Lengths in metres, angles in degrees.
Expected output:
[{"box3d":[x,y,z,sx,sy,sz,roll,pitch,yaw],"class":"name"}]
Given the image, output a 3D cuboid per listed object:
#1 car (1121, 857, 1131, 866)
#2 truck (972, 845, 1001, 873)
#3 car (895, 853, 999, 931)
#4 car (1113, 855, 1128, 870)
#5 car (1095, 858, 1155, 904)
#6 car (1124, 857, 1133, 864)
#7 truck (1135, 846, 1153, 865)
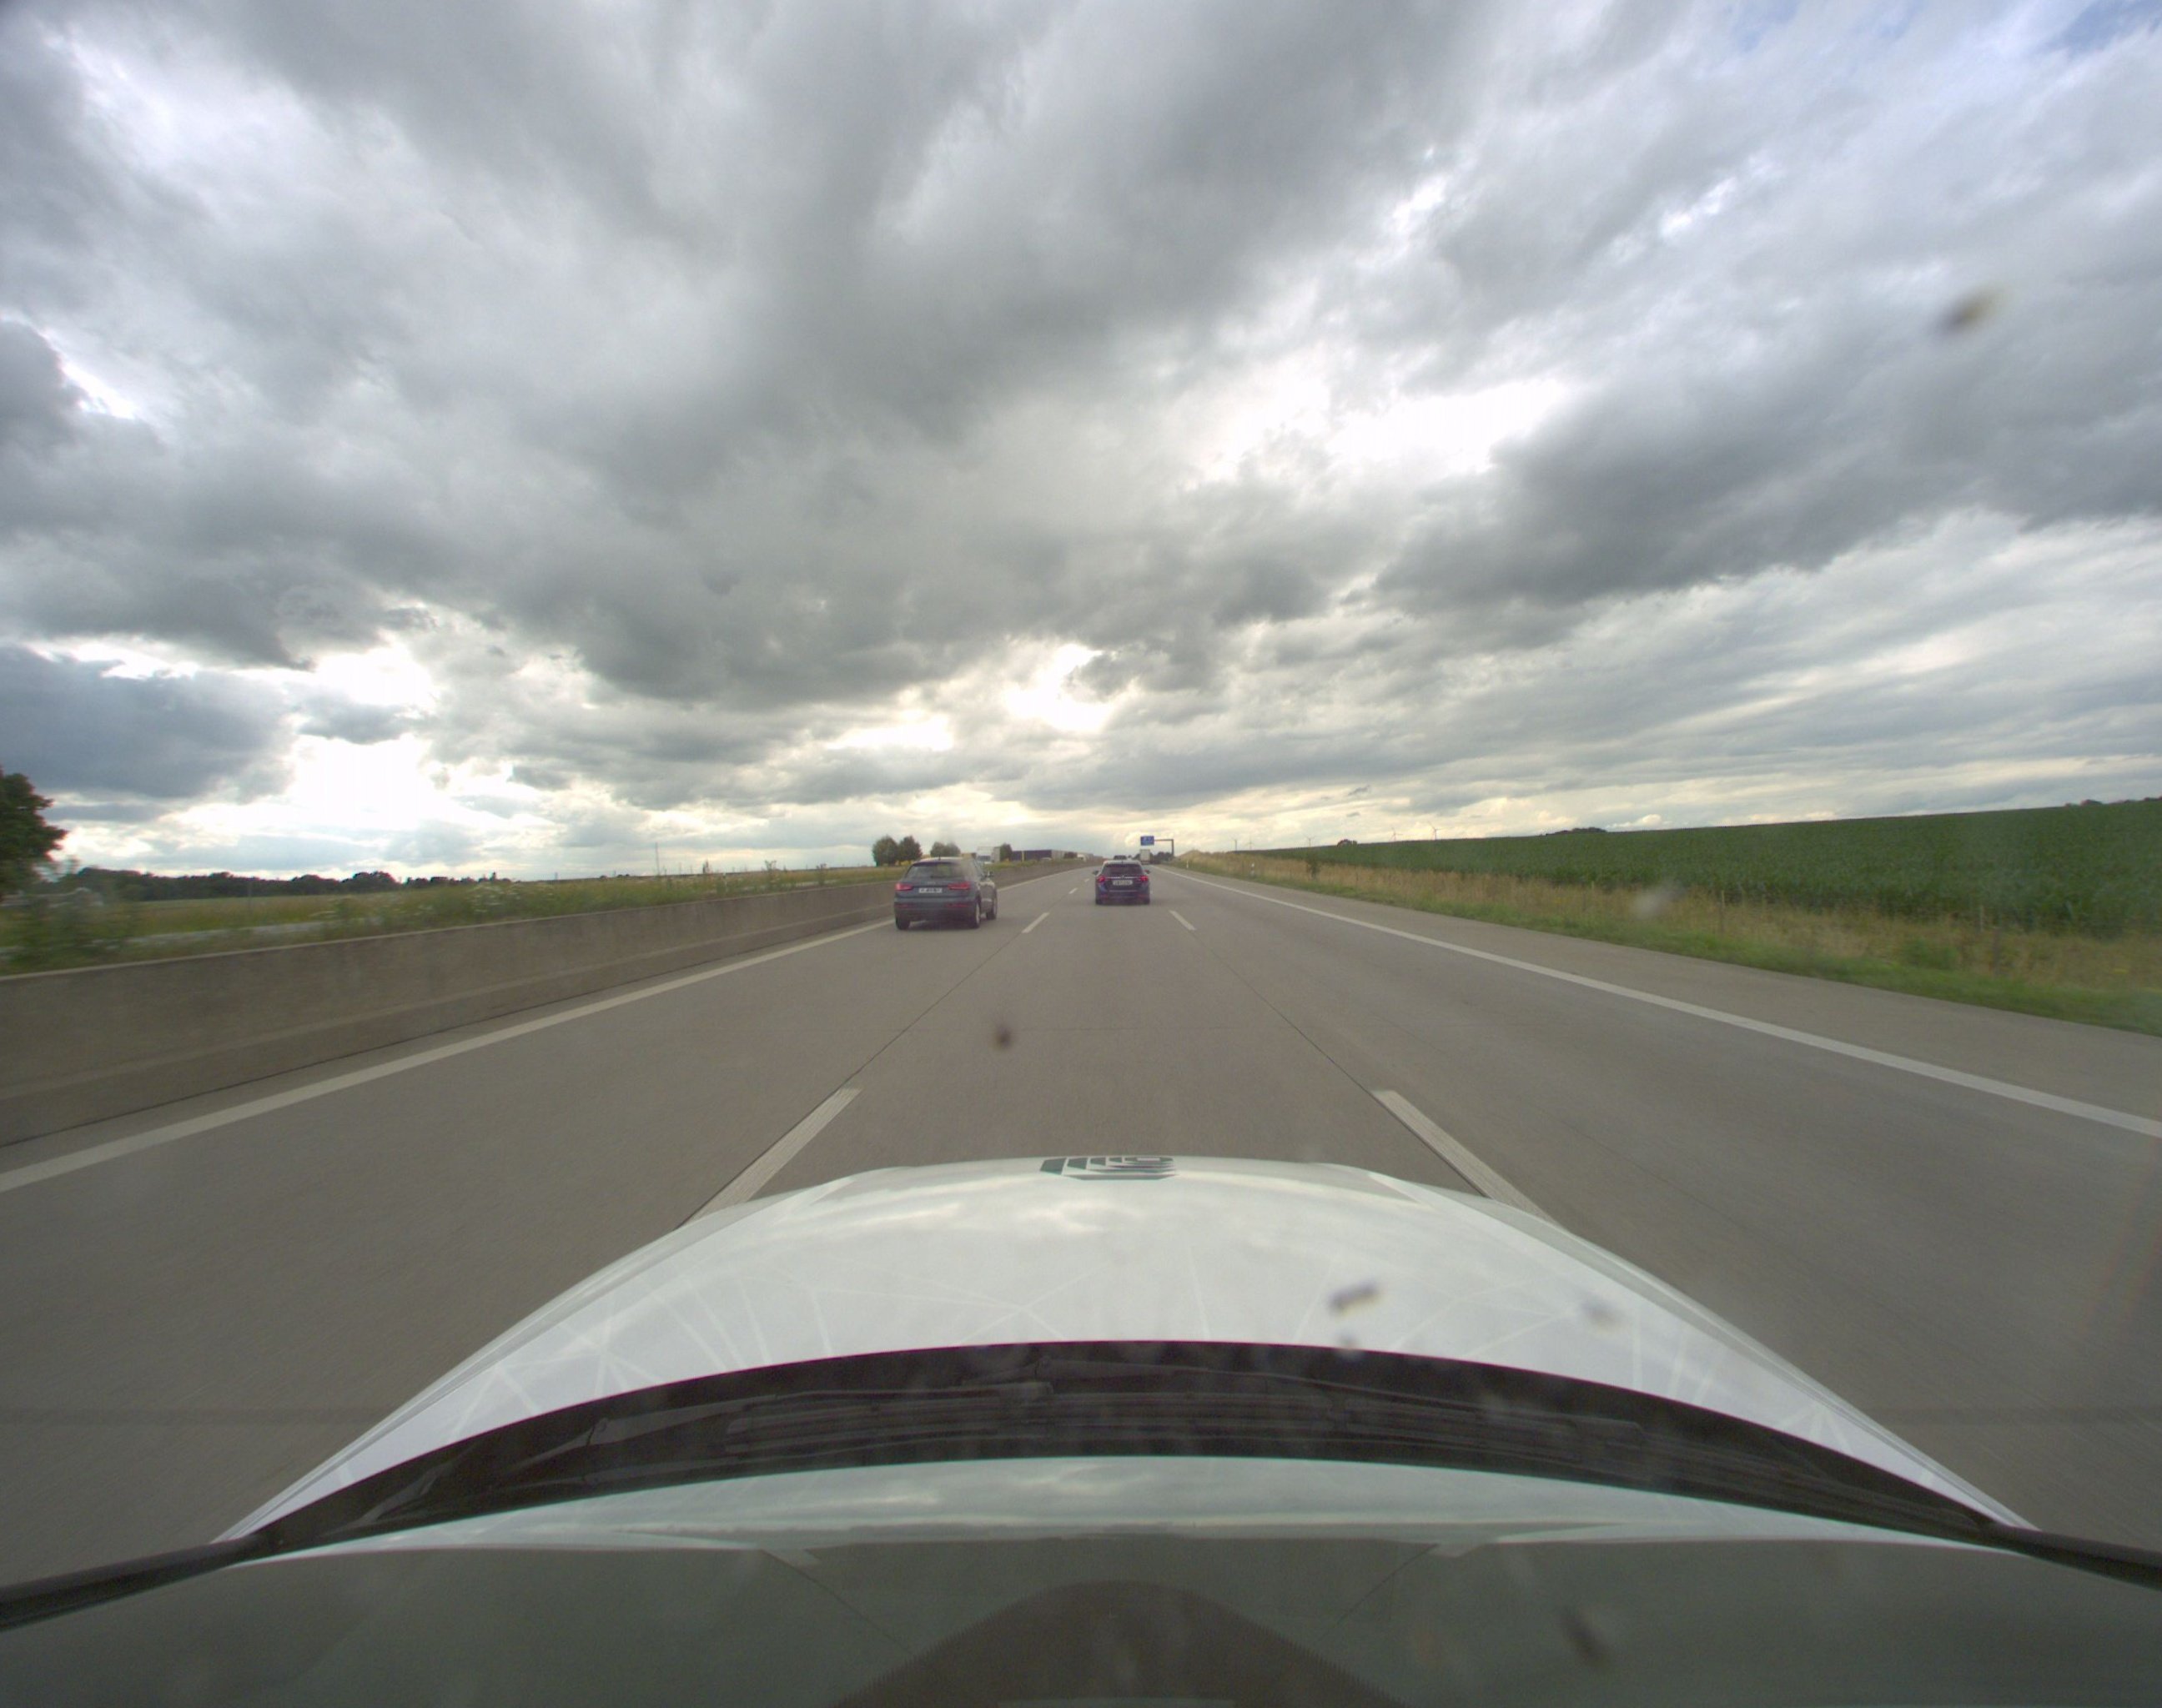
[{"box3d":[9.668,1.656,175.968,1.986,2.014,4.000,0,0,1],"class":"car"},{"box3d":[-11.696,0.647,101.416,2.347,3.328,7.303,0,-1,4],"class":"truck"},{"box3d":[-3.032,0.801,19.436,1.788,1.596,5.153,0,0,-2],"class":"car"},{"box3d":[5.290,1.124,109.421,1.987,2.014,4.000,0,-1,1],"class":"car"},{"box3d":[1.412,0.863,27.381,1.769,1.413,3.999,-1,-1,0],"class":"car"},{"box3d":[13.030,1.750,223.916,1.987,2.014,3.999,0,-1,0],"class":"car"},{"box3d":[16.816,0.423,218.496,3.938,4.756,12.072,0,-1,0],"class":"truck"}]
